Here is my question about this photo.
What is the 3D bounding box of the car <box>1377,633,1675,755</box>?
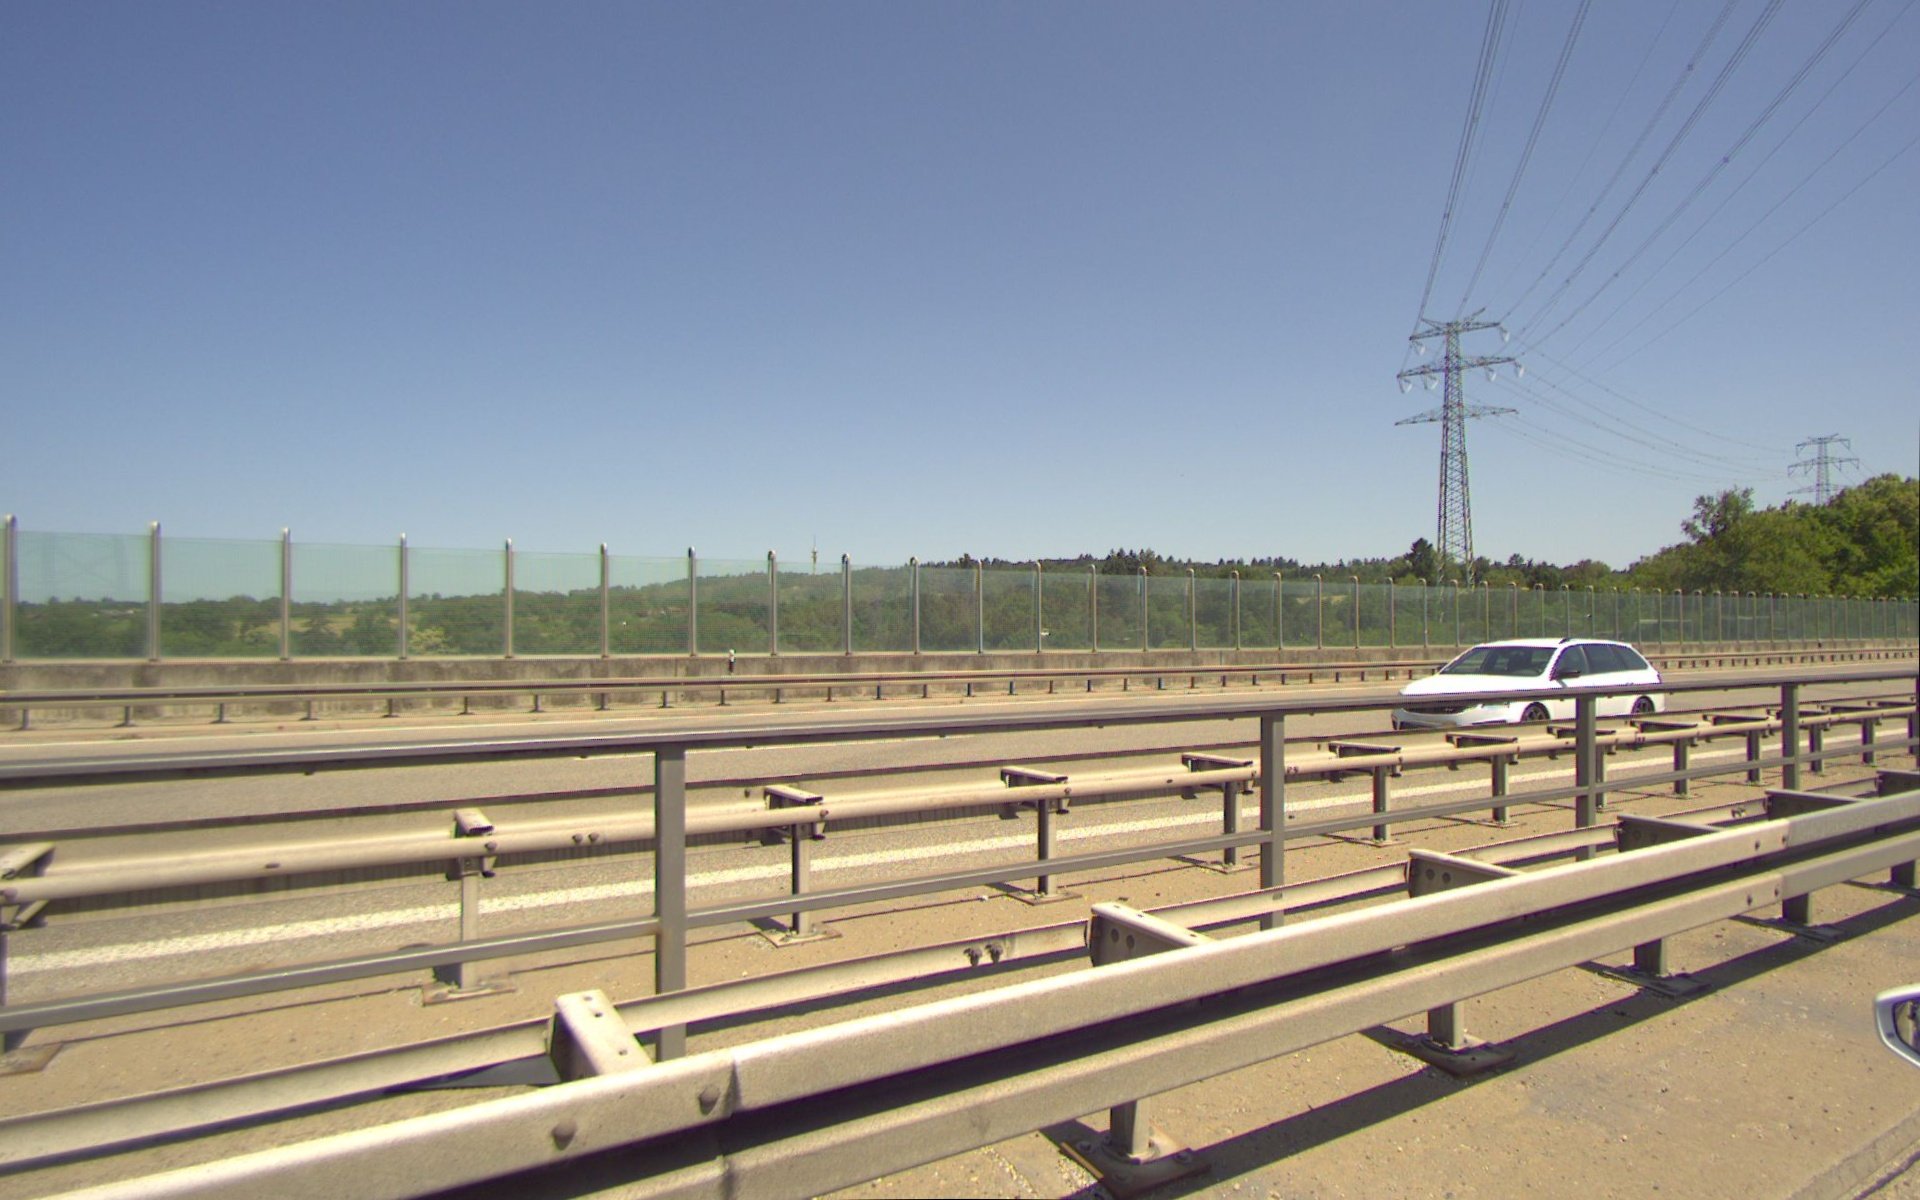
[{"bbox_3d":[7.896,1.209,13.933,4.238,1.468,1.749,1,-3,-31],"label":"car"}]

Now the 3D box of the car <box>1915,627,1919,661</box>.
[{"bbox_3d":[45.624,2.003,45.903,4.153,1.565,1.847,2,-4,-32],"label":"car"}]
